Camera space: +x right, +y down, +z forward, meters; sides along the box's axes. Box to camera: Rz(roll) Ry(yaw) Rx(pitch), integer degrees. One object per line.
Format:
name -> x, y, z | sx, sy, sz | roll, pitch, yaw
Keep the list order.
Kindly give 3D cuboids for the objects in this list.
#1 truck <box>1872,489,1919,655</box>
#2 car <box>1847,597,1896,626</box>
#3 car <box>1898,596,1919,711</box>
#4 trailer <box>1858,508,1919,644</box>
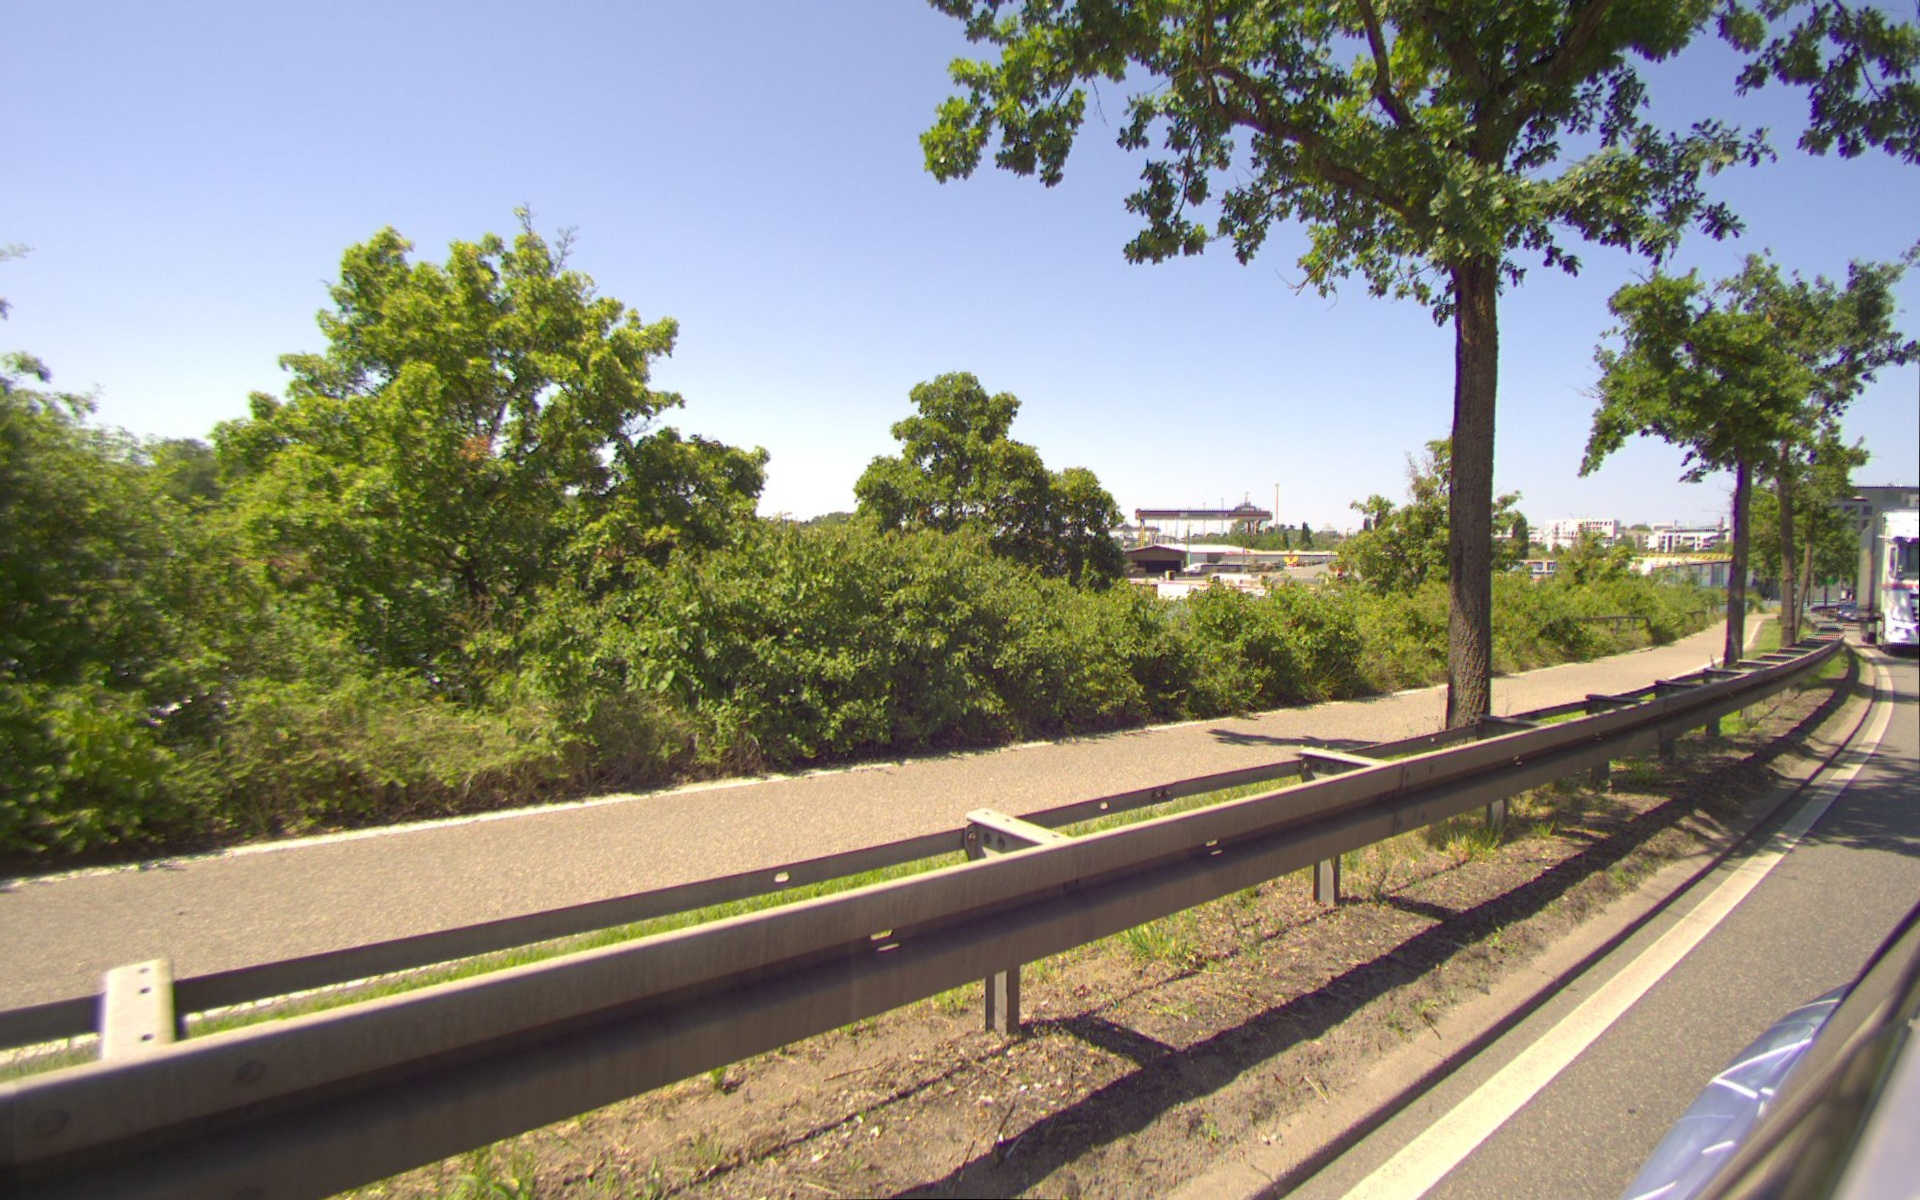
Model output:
truck -> 28.405, -0.732, 29.084 | 2.846, 4.322, 8.689 | 1, 1, 40
car -> 53.365, 0.623, 59.222 | 1.971, 1.596, 3.936 | 1, 1, 44
car -> 13.856, 0.678, 13.326 | 3.650, 1.446, 1.815 | 0, 1, -41
trailer -> 34.734, -0.782, 36.645 | 2.870, 4.267, 13.804 | 1, 1, 40
